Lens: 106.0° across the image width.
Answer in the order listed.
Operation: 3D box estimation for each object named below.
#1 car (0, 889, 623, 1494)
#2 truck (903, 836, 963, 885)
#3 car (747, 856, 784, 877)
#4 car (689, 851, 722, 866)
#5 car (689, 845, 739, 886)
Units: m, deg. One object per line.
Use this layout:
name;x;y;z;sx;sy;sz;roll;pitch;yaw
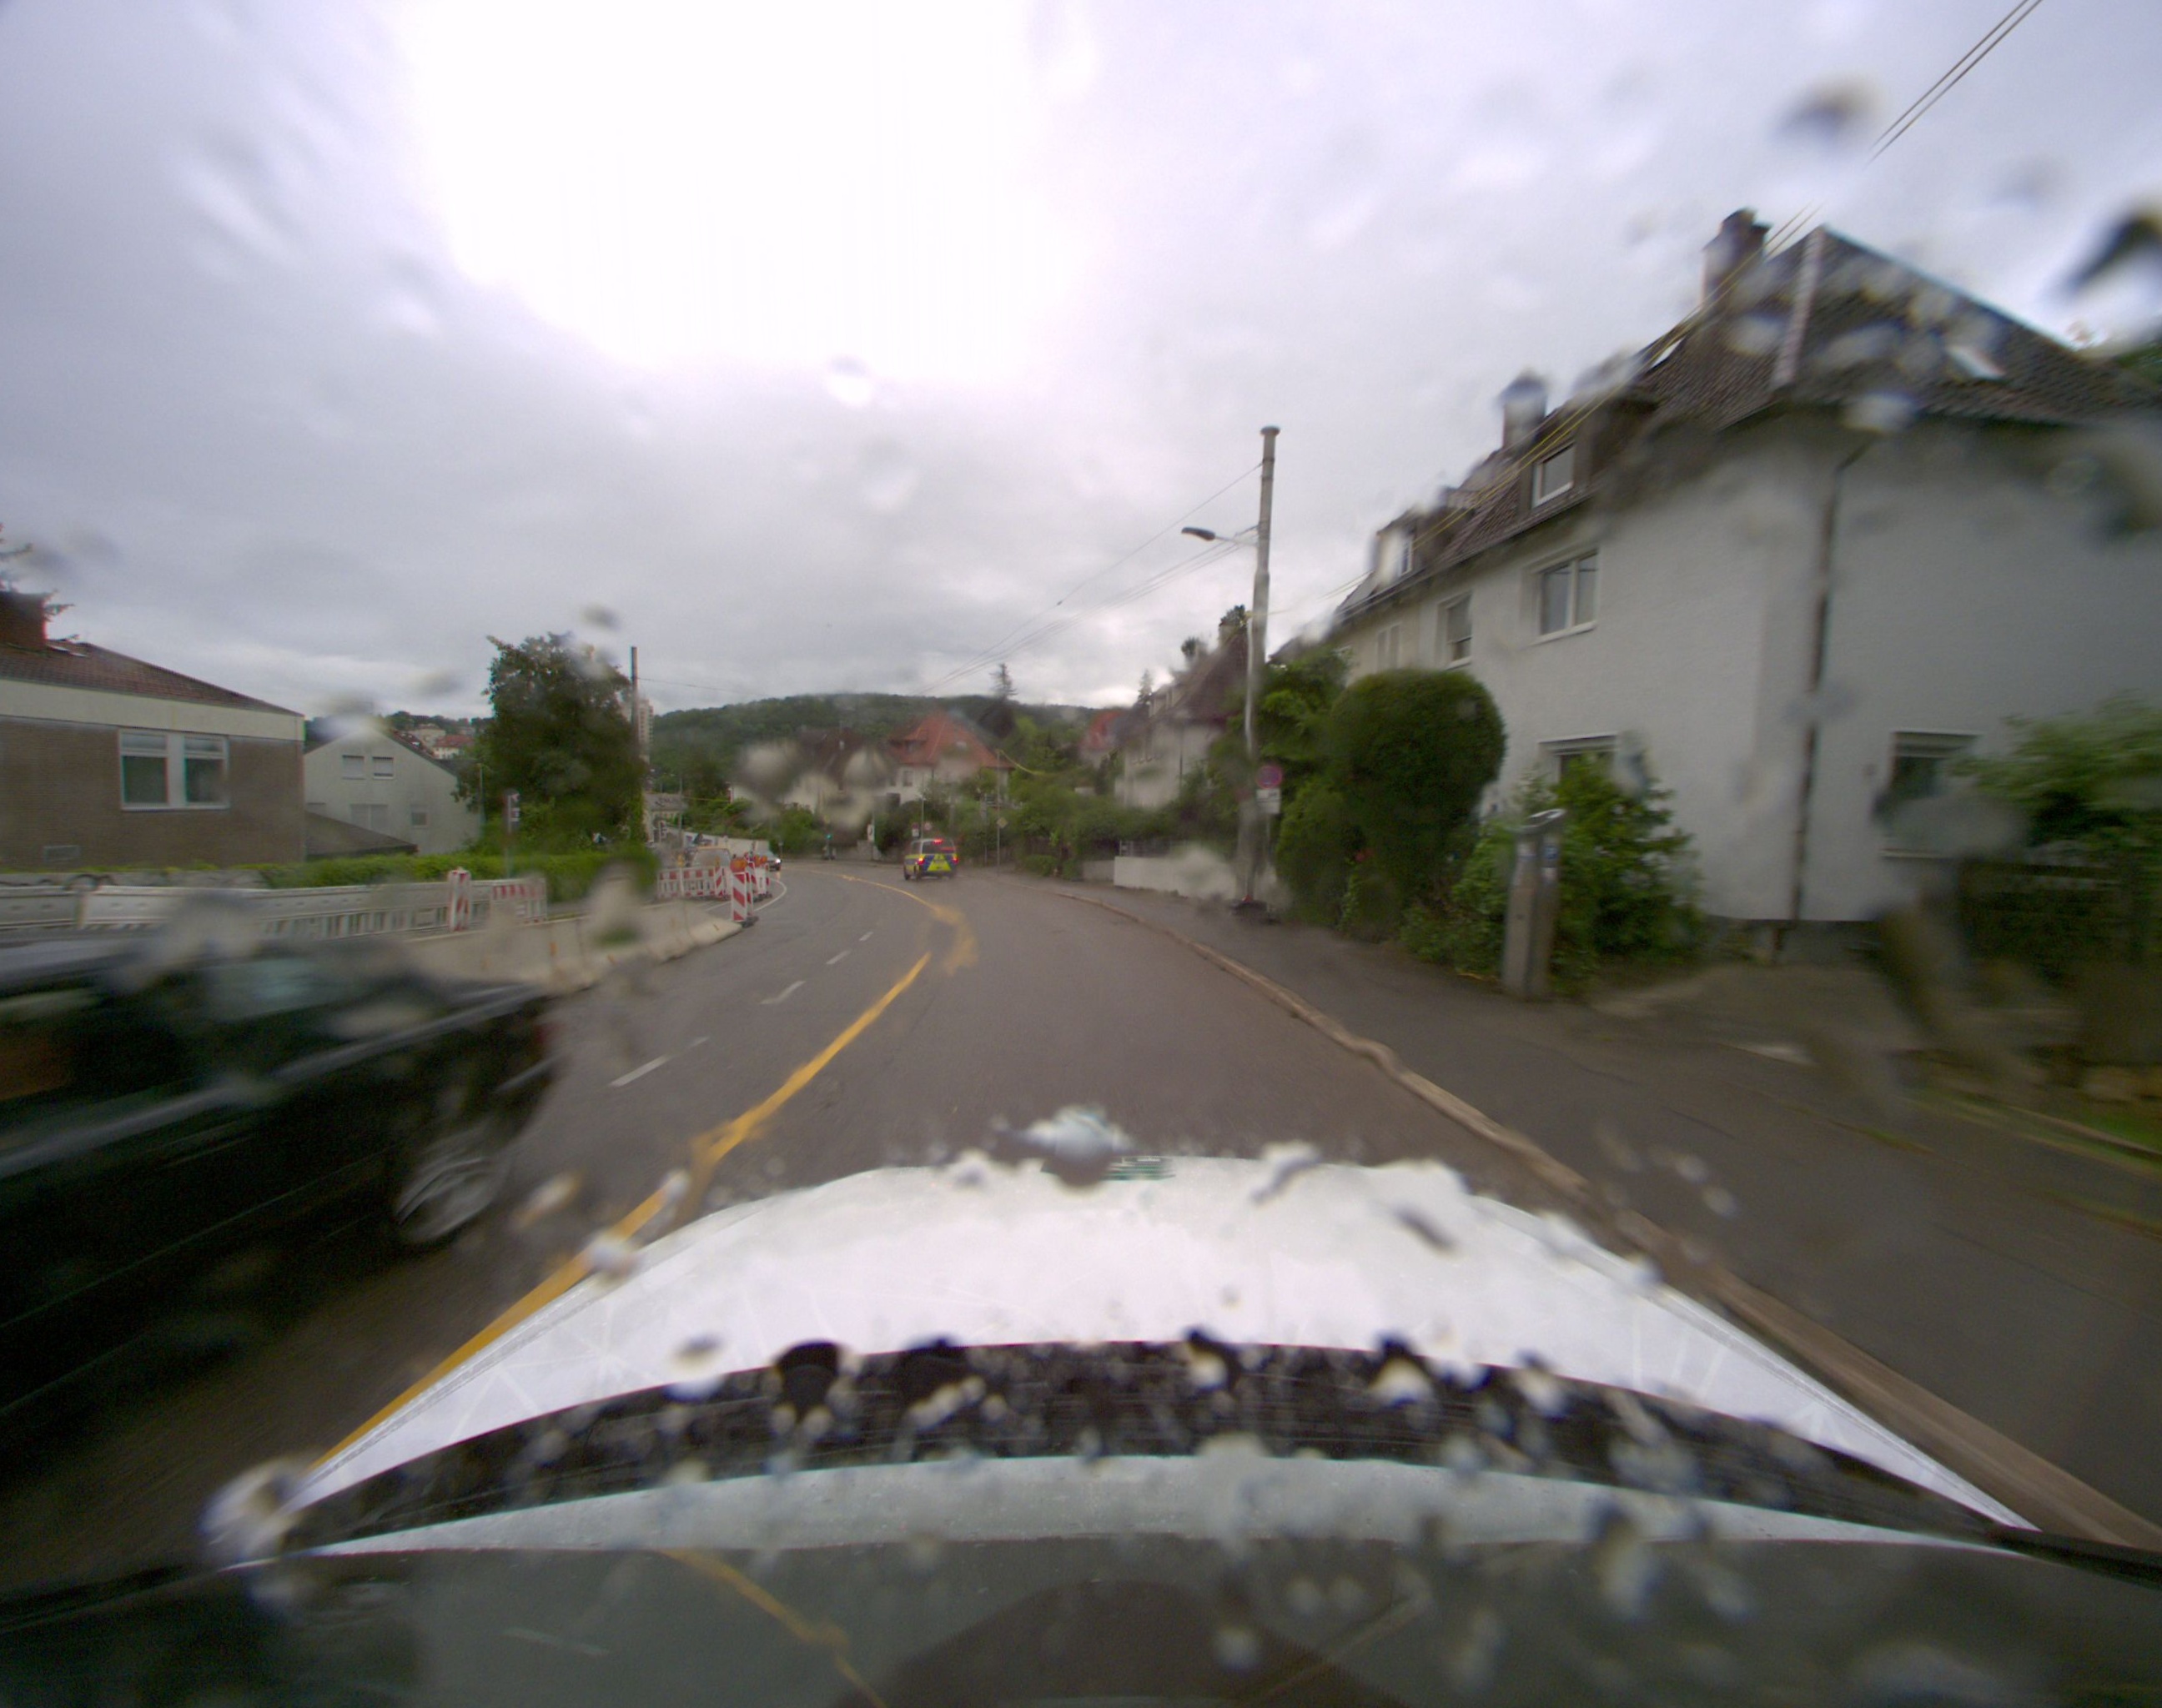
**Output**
car;-3.295;0.835;2.263;1.643;1.311;4.261;-2;-1;-1
truck;-7.171;0.243;39.108;2.001;2.013;4.703;-1;3;-21
car;-22.933;0.900;59.124;2.005;1.464;3.963;0;0;-28
car;-39.175;0.477;84.889;2.011;1.574;3.952;0;0;-42
car;-19.451;0.570;43.086;2.005;2.014;5.094;0;0;-29
